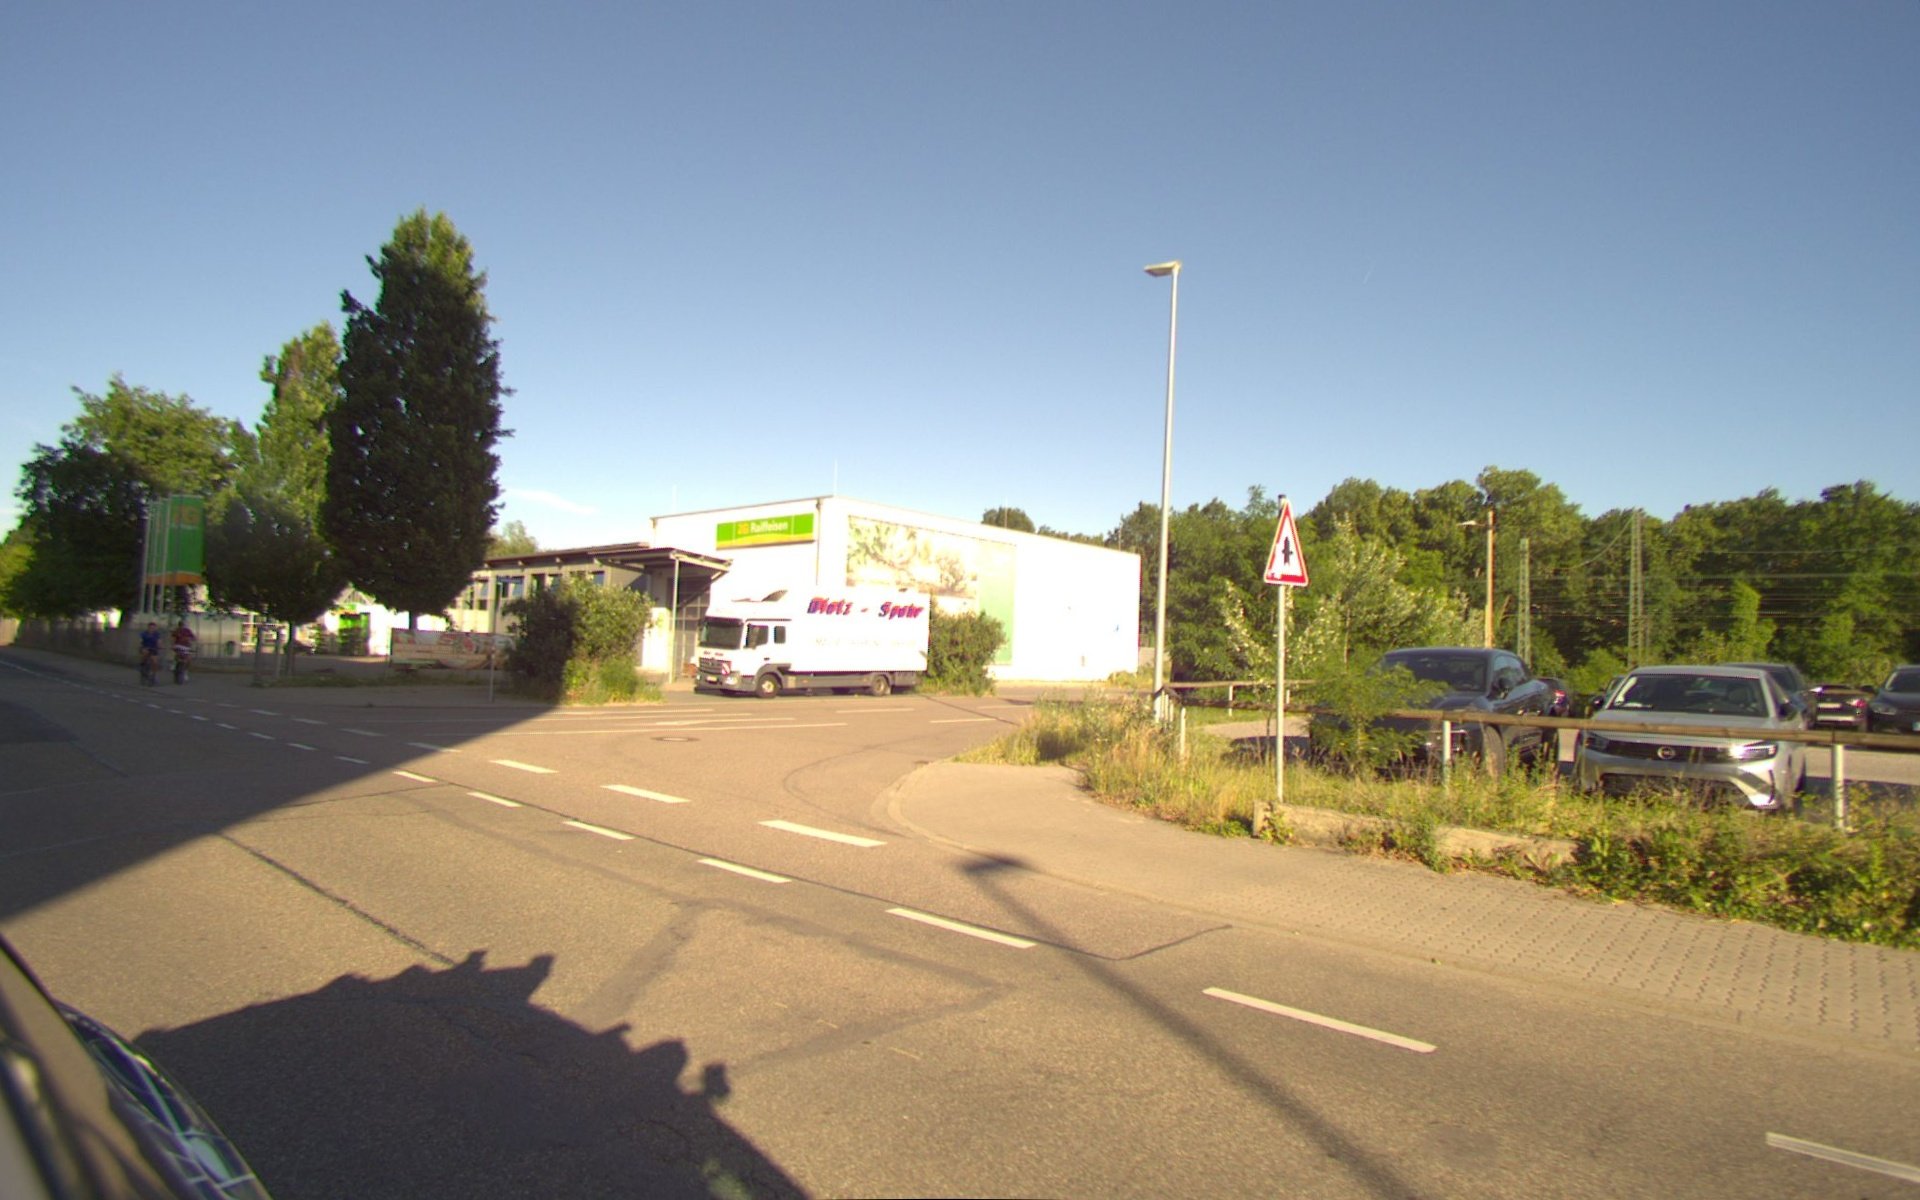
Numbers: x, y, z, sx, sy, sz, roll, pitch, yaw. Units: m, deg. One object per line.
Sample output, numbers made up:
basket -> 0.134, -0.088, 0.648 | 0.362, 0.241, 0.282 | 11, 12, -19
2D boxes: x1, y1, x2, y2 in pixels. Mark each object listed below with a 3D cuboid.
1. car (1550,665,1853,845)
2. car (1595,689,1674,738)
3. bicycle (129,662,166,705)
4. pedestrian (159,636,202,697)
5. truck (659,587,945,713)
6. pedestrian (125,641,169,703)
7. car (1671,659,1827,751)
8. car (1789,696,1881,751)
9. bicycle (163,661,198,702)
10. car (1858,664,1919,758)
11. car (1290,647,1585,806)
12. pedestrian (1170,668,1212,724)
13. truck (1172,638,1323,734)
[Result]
car -> 7.978, 1.486, 10.719 | 2.048, 1.473, 4.379 | -3, -6, 43
car -> 22.463, 3.725, 33.639 | 1.859, 1.476, 3.968 | -2, -6, 38
bicycle -> -23.374, 2.377, 29.104 | 2.200, 1.157, 0.441 | -2, -4, 42
pedestrian -> -22.961, 1.961, 29.809 | 1.057, 1.734, 0.713 | -2, -6, 42
truck -> -4.878, 1.767, 33.922 | 2.774, 3.642, 9.993 | -1, -4, 41
pedestrian -> -23.420, 2.064, 29.140 | 1.057, 1.734, 0.713 | -2, -6, 42
car -> 14.643, 1.908, 18.846 | 2.046, 1.476, 4.359 | -2, -6, 38
car -> 26.307, 3.673, 30.533 | 1.859, 1.476, 3.968 | -2, -6, 38
bicycle -> -22.948, 2.373, 29.781 | 1.869, 1.157, 0.465 | -2, -4, 42
car -> 16.995, 1.909, 17.380 | 2.046, 1.476, 4.359 | -2, -6, 38
car -> 6.030, 1.465, 12.524 | 2.048, 1.593, 4.379 | -3, -6, 43
pedestrian -> 7.073, 2.926, 30.940 | 0.915, 1.652, 0.918 | -3, -6, 43
truck -> 9.545, 2.826, 33.109 | 2.315, 2.829, 6.428 | -2, -6, 40
